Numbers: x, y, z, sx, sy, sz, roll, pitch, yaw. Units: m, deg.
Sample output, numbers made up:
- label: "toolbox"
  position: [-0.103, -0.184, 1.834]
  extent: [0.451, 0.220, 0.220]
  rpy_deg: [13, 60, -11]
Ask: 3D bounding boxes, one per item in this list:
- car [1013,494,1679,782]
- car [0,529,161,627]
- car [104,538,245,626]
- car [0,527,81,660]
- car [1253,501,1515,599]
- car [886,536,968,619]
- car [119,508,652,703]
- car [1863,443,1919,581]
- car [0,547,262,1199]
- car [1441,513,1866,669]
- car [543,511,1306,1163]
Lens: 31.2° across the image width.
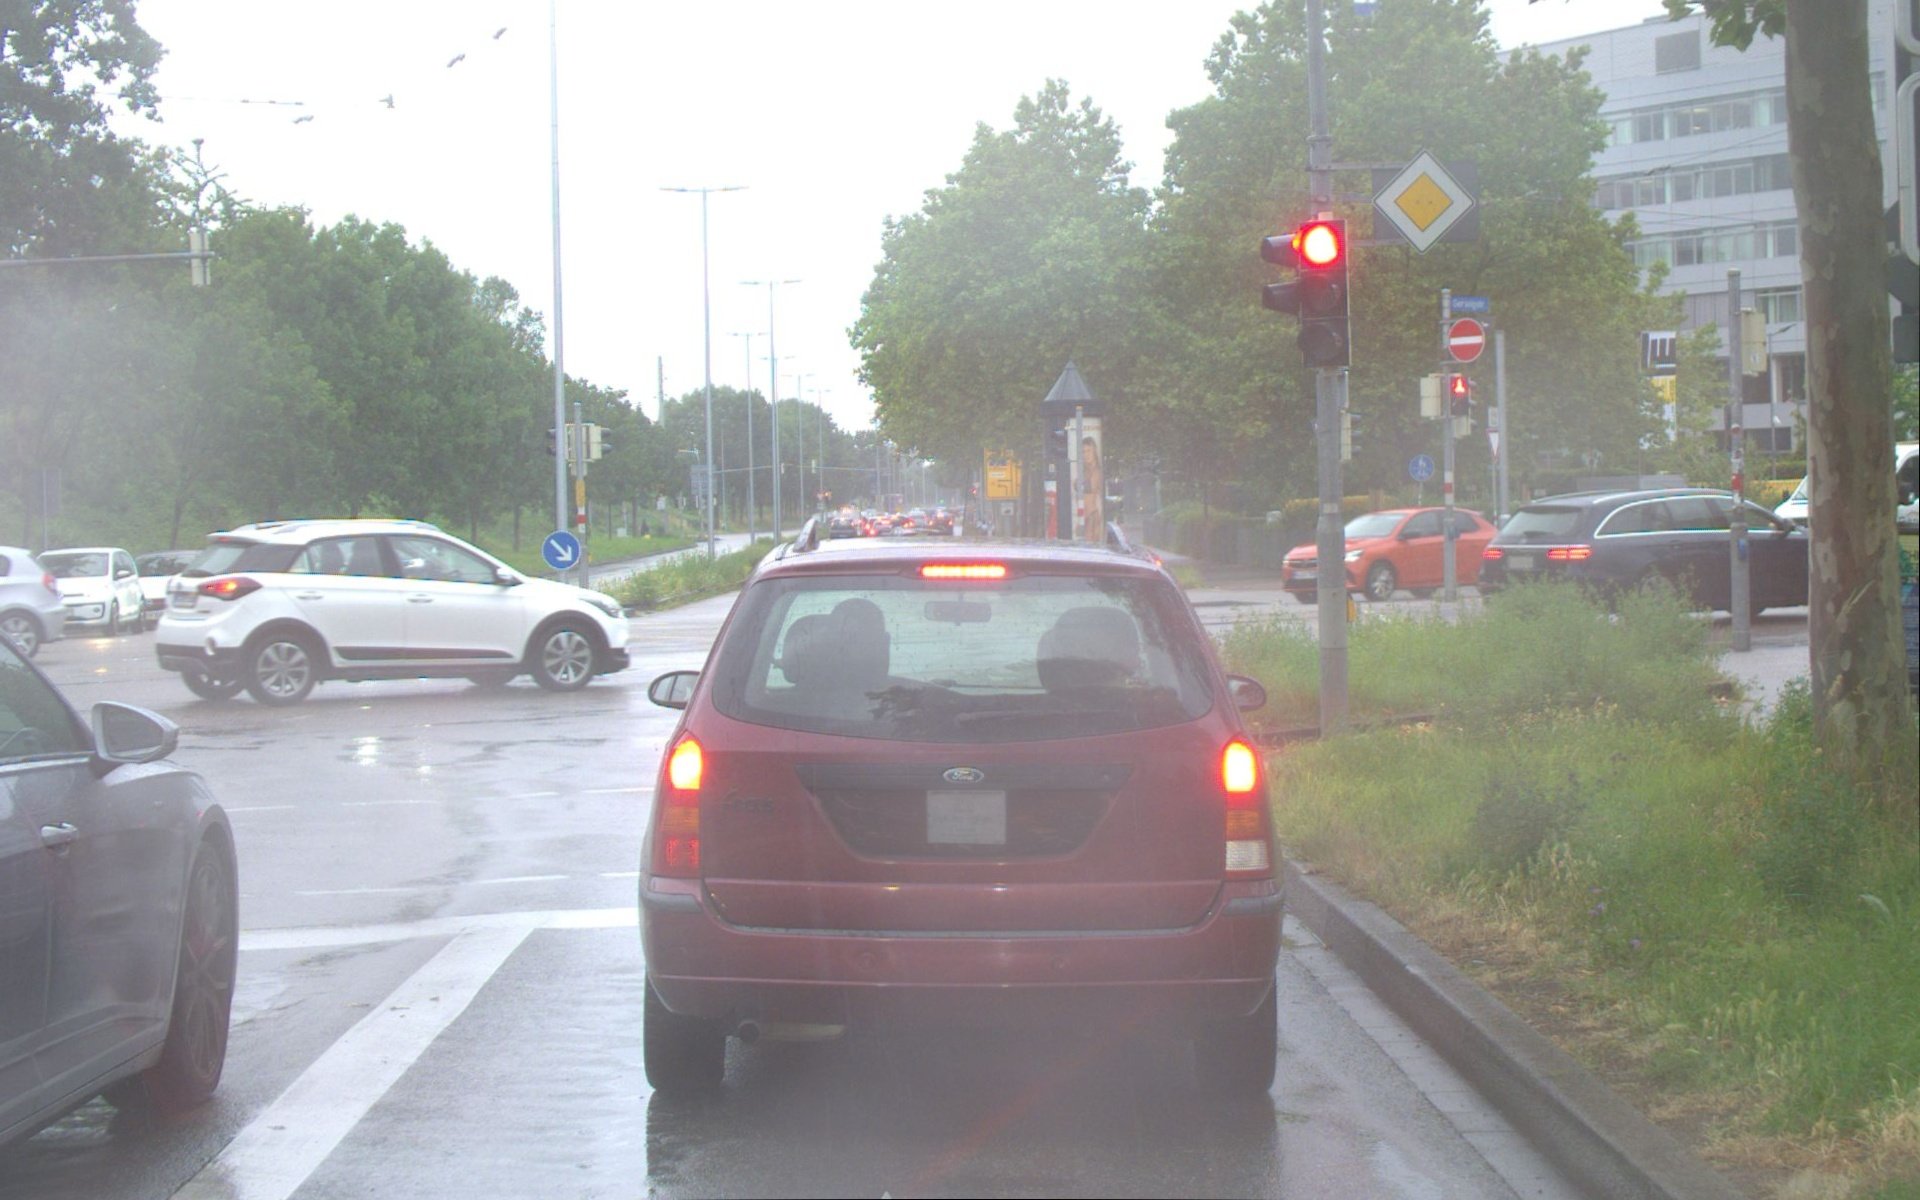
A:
- label: "car"
  position: [2.615, 0.166, 22.647]
  extent: [4.375, 1.531, 1.801]
  rpy_deg: [-5, 4, -40]
- label: "car"
  position: [-14.603, -0.390, 57.130]
  extent: [1.712, 1.525, 4.000]
  rpy_deg: [-1, 1, -1]
- label: "car"
  position: [-14.507, -0.355, 63.671]
  extent: [1.712, 1.525, 4.000]
  rpy_deg: [-1, 1, -1]
- label: "car"
  position: [-12.163, -0.039, 38.646]
  extent: [3.988, 1.481, 1.818]
  rpy_deg: [-2, 1, -39]
- label: "car"
  position: [6.635, -0.785, 53.610]
  extent: [3.988, 1.424, 1.717]
  rpy_deg: [-2, 2, -38]
- label: "car"
  position: [-0.848, -0.590, 87.319]
  extent: [1.993, 2.007, 4.000]
  rpy_deg: [-1, 1, -1]
- label: "car"
  position: [-4.940, 0.011, 29.658]
  extent: [4.050, 1.515, 2.000]
  rpy_deg: [-2, 1, -31]
- label: "car"
  position: [16.990, -1.538, 56.272]
  extent: [4.374, 2.183, 1.802]
  rpy_deg: [-5, 3, -35]
- label: "car"
  position: [-2.720, 0.616, 7.038]
  extent: [1.690, 1.428, 4.574]
  rpy_deg: [0, 1, -1]
- label: "car"
  position: [7.540, -0.123, 37.287]
  extent: [4.372, 1.532, 1.802]
  rpy_deg: [-2, 1, -29]
- label: "car"
  position: [-0.109, 0.524, 10.358]
  extent: [1.796, 1.532, 4.387]
  rpy_deg: [1, 1, -1]
